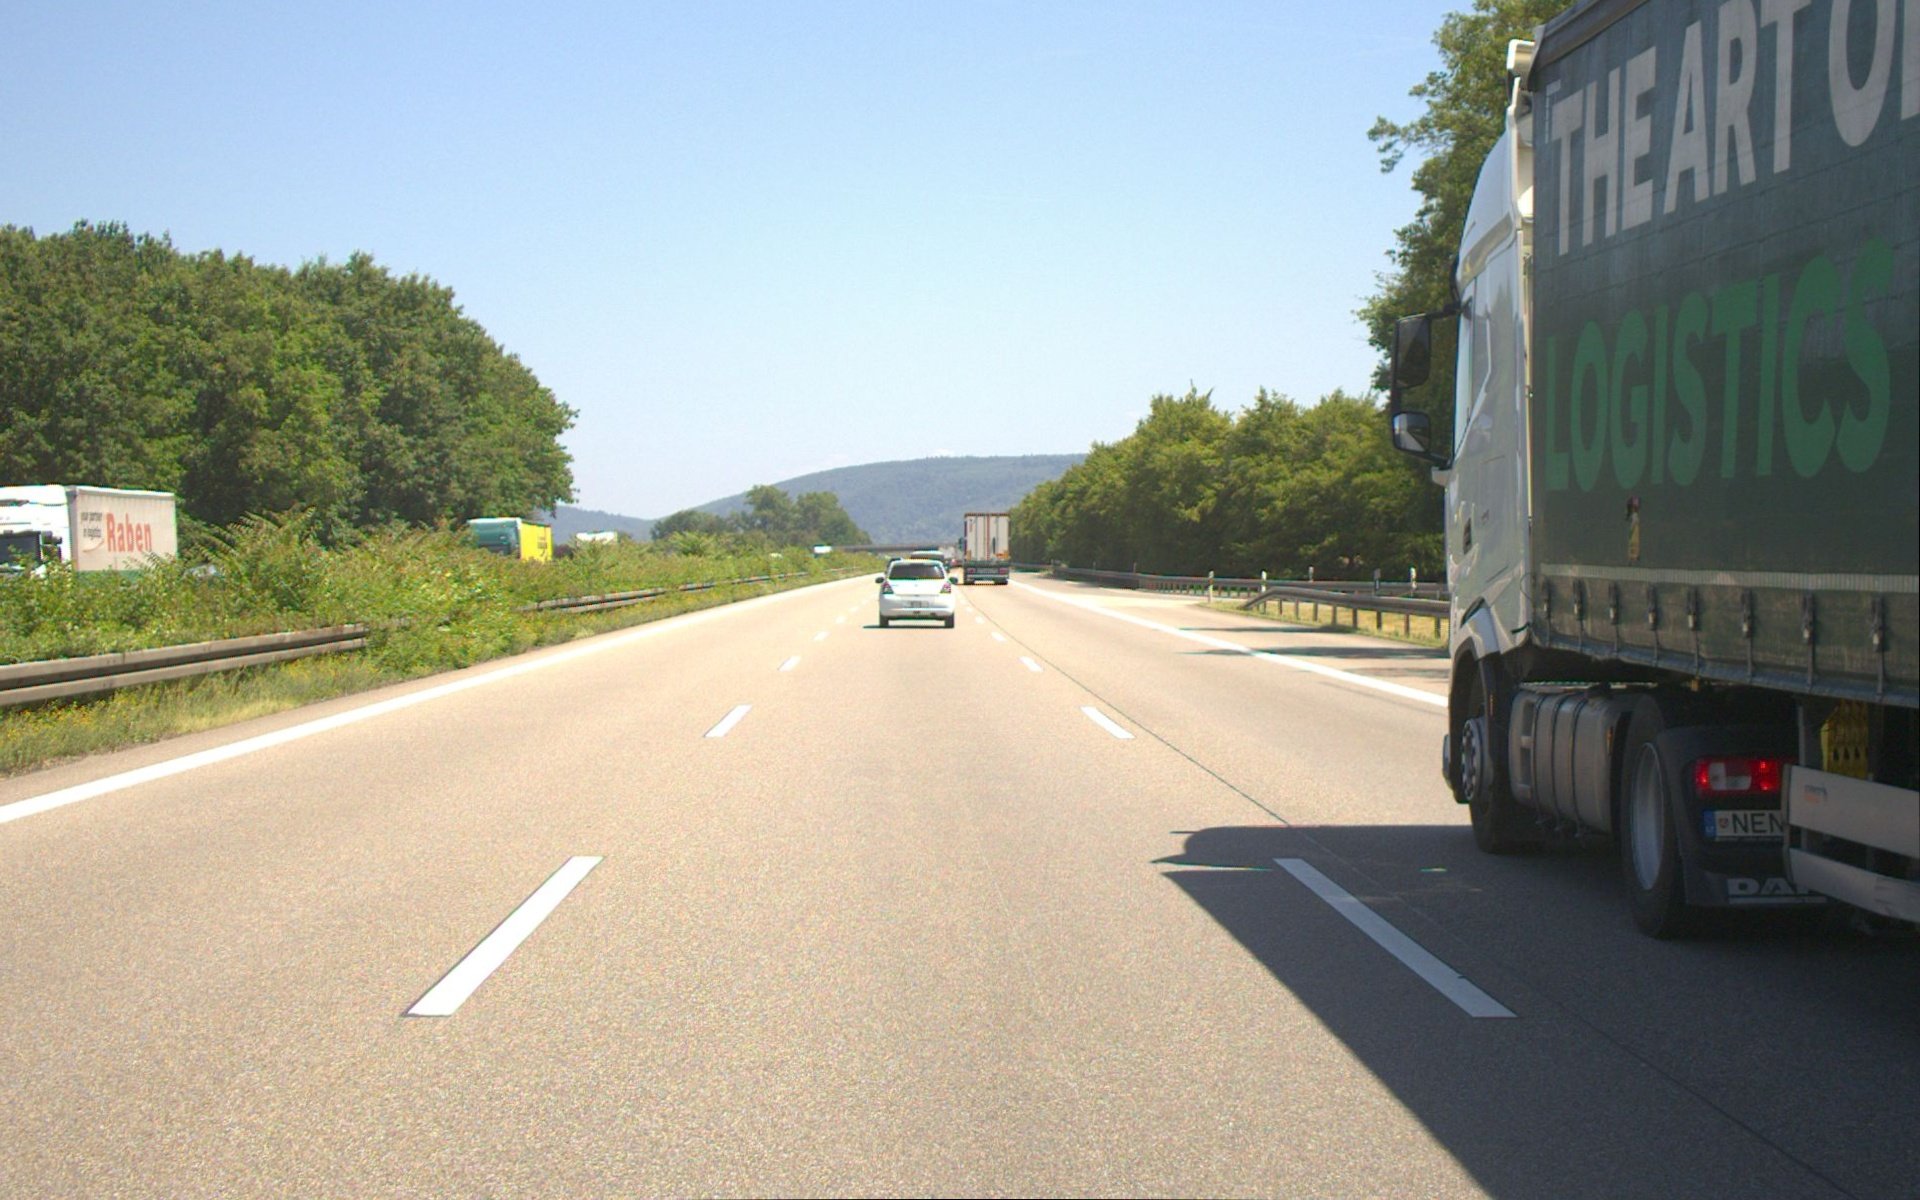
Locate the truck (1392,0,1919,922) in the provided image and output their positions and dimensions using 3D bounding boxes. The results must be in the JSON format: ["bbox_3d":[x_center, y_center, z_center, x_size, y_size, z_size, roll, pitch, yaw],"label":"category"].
[{"bbox_3d":[4.120,-1.054,16.712,3.182,4.591,5.948,0,1,-1],"label":"truck"}]

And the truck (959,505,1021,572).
[{"bbox_3d":[1.675,-3.577,200.204,3.325,3.744,12.796,1,1,-1],"label":"truck"}]

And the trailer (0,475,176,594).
[{"bbox_3d":[-22.036,-1.604,85.946,2.560,2.769,10.952,0,1,-1],"label":"trailer"}]

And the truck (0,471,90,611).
[{"bbox_3d":[-21.855,-1.353,79.313,2.572,3.134,4.264,0,1,-1],"label":"truck"}]

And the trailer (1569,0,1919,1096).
[{"bbox_3d":[4.271,-0.922,8.183,3.181,4.611,12.051,-1,1,-1],"label":"trailer"}]

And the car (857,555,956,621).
[{"bbox_3d":[-1.218,-0.282,77.038,1.811,1.400,3.318,-1,1,-8],"label":"car"}]
